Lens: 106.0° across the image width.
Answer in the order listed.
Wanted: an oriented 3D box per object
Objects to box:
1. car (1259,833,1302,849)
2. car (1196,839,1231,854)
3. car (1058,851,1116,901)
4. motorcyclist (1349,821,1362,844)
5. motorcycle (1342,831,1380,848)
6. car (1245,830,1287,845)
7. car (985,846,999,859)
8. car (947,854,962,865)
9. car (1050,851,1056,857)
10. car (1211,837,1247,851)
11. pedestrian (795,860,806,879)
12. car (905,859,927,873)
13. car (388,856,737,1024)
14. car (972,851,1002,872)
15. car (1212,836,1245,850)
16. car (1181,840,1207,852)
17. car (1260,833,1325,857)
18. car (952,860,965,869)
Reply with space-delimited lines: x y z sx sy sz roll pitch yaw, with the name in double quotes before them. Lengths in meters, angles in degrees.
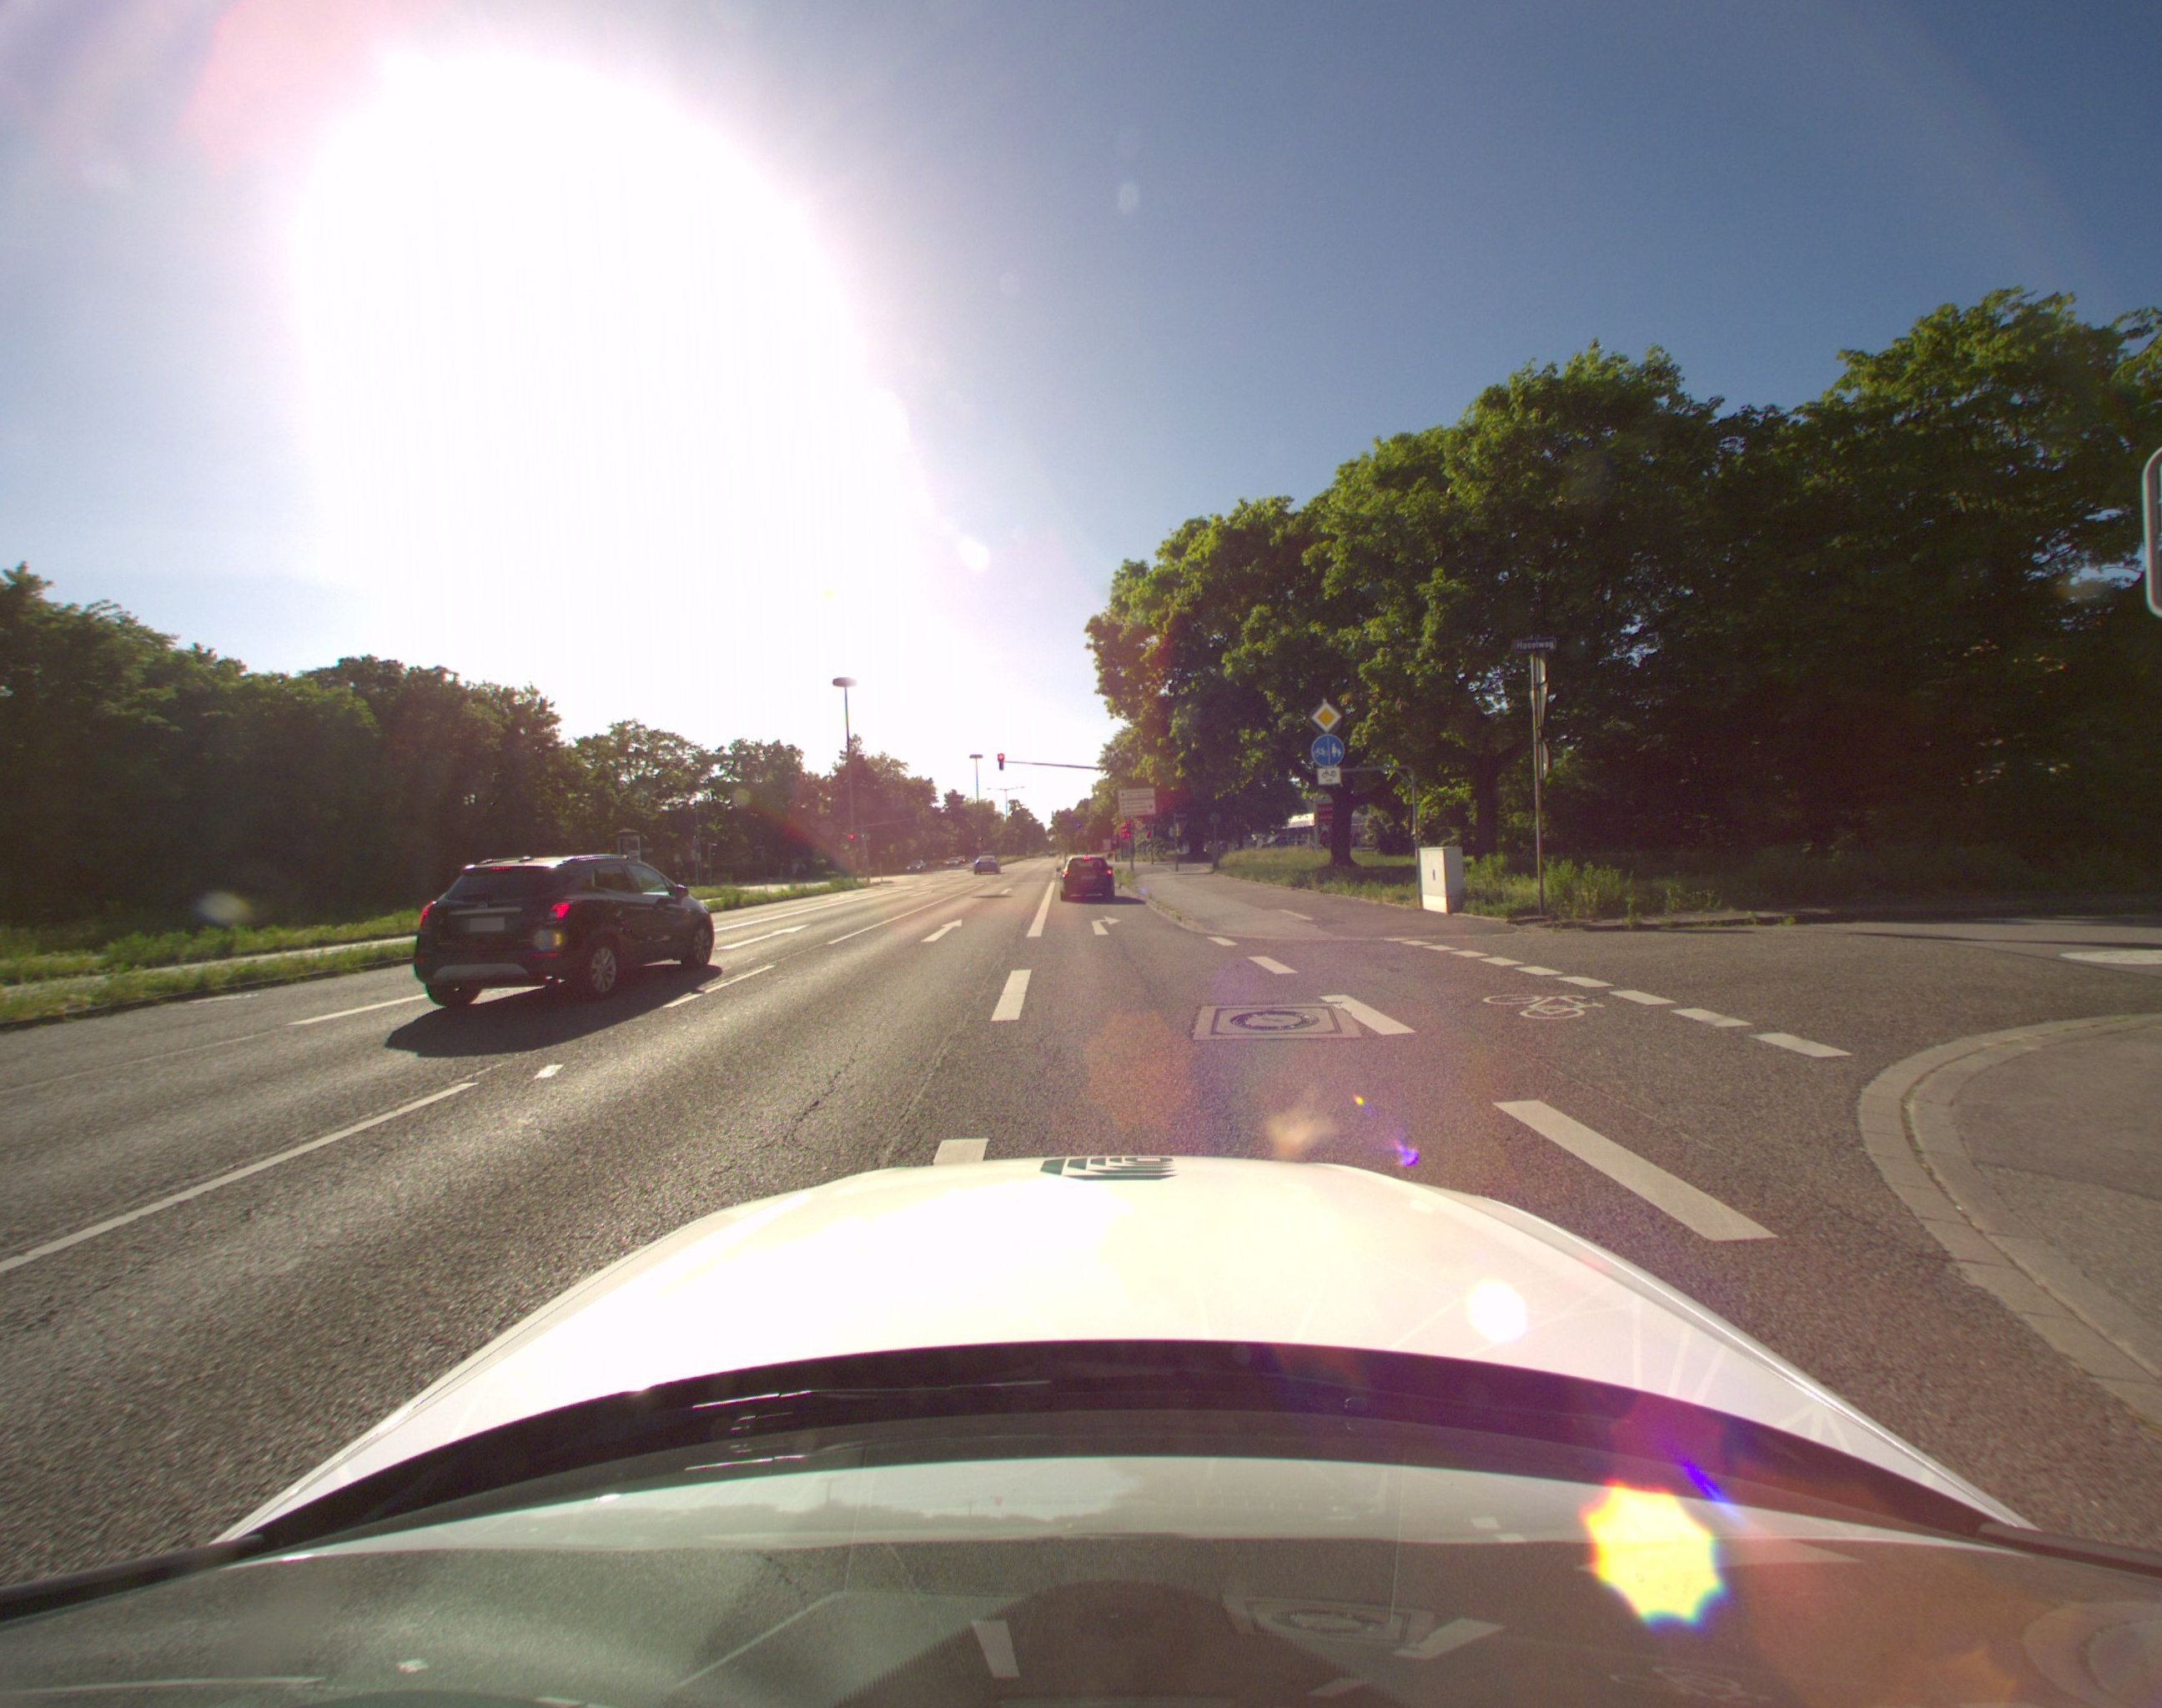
"car" 19.964 -1.302 81.402 3.849 1.612 1.792 0 -1 -21
"car" 15.122 -0.842 92.946 3.733 1.685 1.689 0 -1 -28
"car" 0.145 0.709 27.288 1.751 1.509 3.806 -2 0 -1
"motorcyclist" 20.758 -1.618 61.576 0.854 1.680 0.837 -1 -1 15
"motorcycle" 21.122 -1.101 61.505 2.705 1.270 0.837 -1 -1 14
"car" 18.982 -1.666 83.725 3.849 1.482 1.792 0 -1 -21
"car" -14.727 -0.271 135.189 1.988 2.014 3.998 -1 0 -1
"car" -20.935 0.883 134.598 1.859 1.684 3.998 -1 0 -1
"car" -7.701 -0.009 224.521 1.728 1.585 3.836 -1 0 -3
"car" 16.466 -1.116 90.627 3.863 1.563 1.786 0 -1 -34
"pedestrian" -29.194 1.601 84.769 0.842 1.835 0.550 -4 0 2
"car" -20.584 1.444 101.711 1.859 1.684 4.258 -1 0 -1
"car" -6.247 0.886 10.565 1.691 1.632 4.415 -3 0 -1
"car" -7.464 0.611 64.997 1.883 1.552 3.998 -3 0 -1
"car" 17.866 -1.315 98.759 3.705 1.685 1.702 -1 -1 -4
"car" 17.554 -1.246 126.112 3.705 1.685 1.702 -1 -1 -4
"car" 16.151 -0.701 62.446 4.590 1.574 2.005 -3 -1 10
"car" -22.879 1.974 152.175 1.859 1.684 3.998 -1 0 -1
